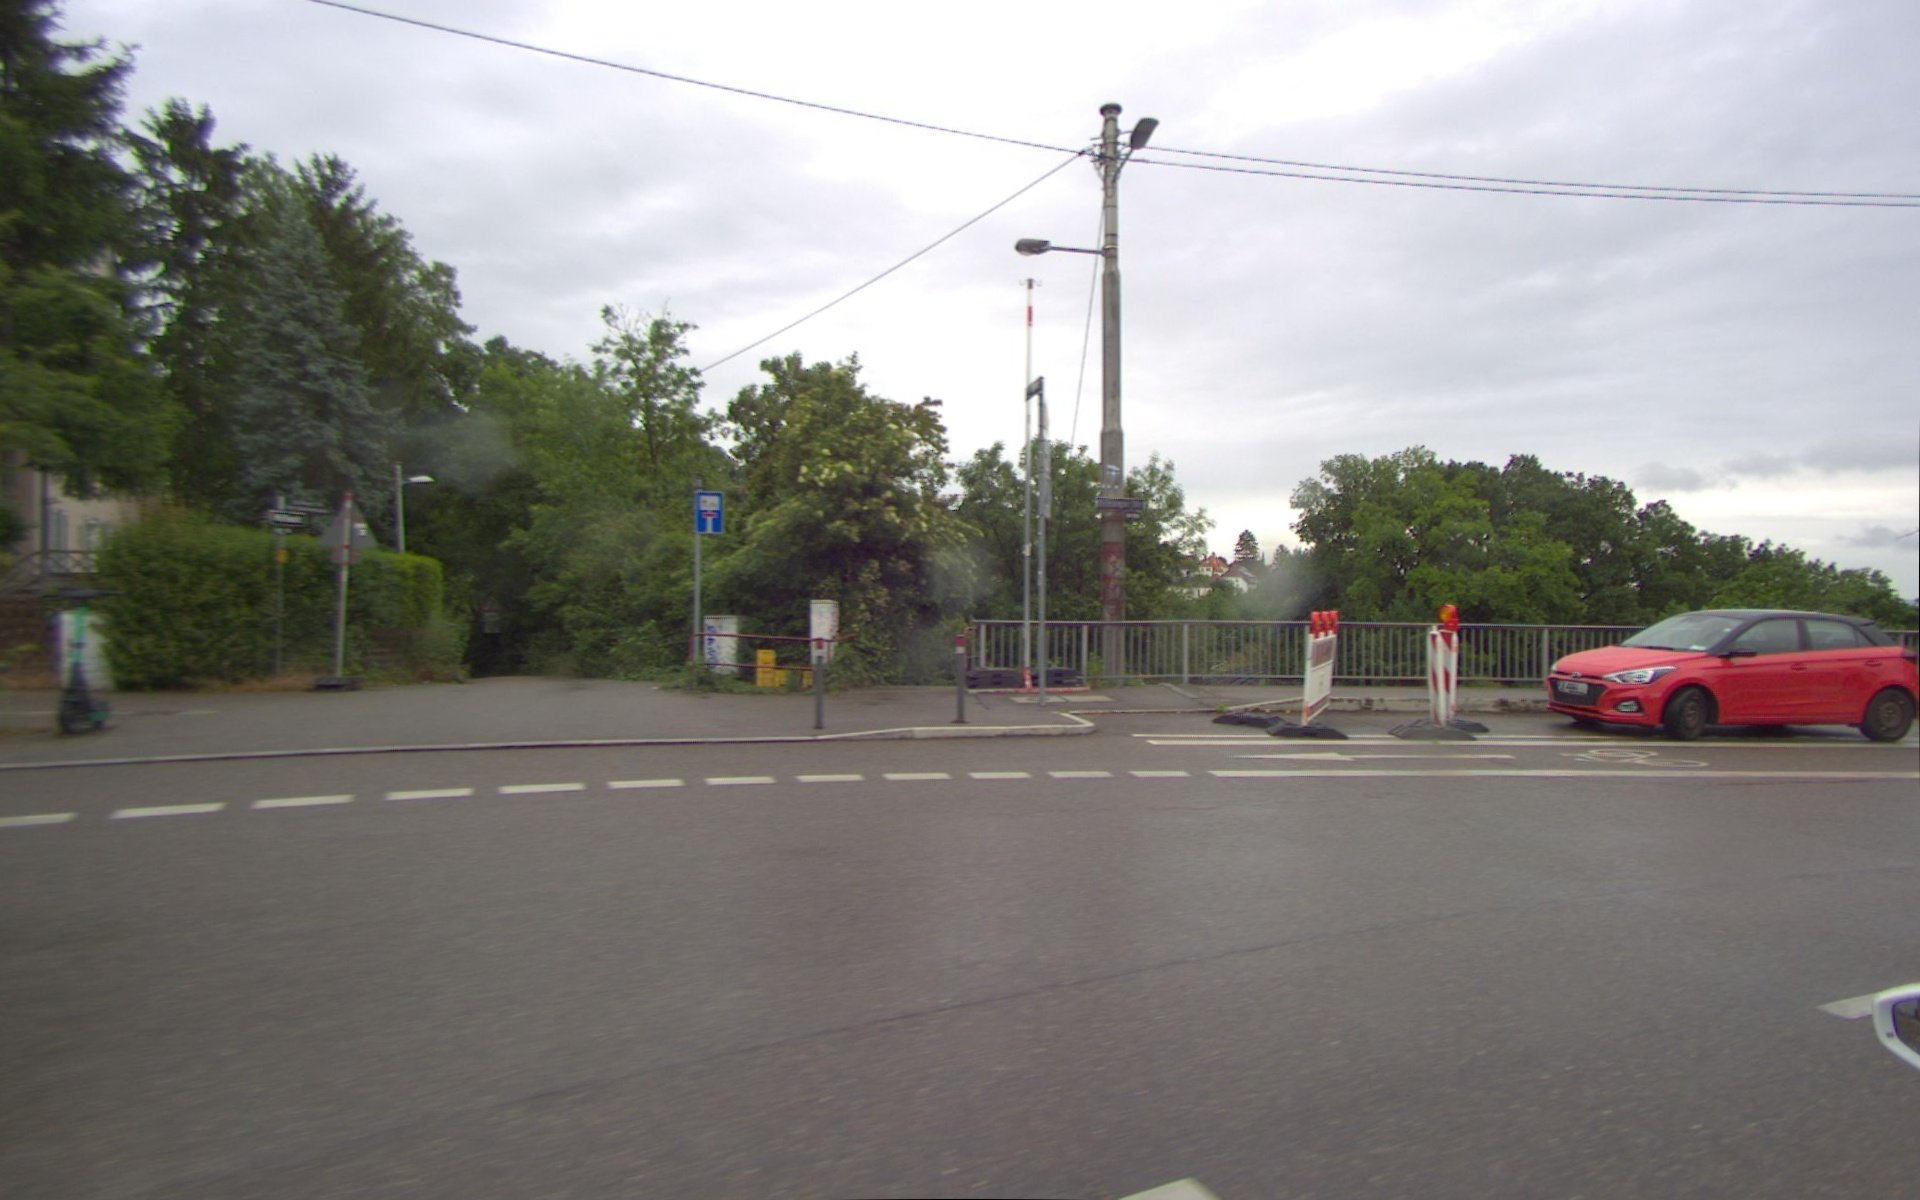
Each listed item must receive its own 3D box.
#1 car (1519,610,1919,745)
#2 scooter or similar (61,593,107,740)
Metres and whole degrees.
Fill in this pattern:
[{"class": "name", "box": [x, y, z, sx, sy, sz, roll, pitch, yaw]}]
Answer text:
[{"class": "car", "box": [9.266, 0.903, 12.223, 4.058, 1.416, 1.689, 2, 0, -6]}, {"class": "scooter or similar", "box": [-7.789, 0.560, 8.926, 0.242, 1.234, 1.024, 2, 0, -43]}]
